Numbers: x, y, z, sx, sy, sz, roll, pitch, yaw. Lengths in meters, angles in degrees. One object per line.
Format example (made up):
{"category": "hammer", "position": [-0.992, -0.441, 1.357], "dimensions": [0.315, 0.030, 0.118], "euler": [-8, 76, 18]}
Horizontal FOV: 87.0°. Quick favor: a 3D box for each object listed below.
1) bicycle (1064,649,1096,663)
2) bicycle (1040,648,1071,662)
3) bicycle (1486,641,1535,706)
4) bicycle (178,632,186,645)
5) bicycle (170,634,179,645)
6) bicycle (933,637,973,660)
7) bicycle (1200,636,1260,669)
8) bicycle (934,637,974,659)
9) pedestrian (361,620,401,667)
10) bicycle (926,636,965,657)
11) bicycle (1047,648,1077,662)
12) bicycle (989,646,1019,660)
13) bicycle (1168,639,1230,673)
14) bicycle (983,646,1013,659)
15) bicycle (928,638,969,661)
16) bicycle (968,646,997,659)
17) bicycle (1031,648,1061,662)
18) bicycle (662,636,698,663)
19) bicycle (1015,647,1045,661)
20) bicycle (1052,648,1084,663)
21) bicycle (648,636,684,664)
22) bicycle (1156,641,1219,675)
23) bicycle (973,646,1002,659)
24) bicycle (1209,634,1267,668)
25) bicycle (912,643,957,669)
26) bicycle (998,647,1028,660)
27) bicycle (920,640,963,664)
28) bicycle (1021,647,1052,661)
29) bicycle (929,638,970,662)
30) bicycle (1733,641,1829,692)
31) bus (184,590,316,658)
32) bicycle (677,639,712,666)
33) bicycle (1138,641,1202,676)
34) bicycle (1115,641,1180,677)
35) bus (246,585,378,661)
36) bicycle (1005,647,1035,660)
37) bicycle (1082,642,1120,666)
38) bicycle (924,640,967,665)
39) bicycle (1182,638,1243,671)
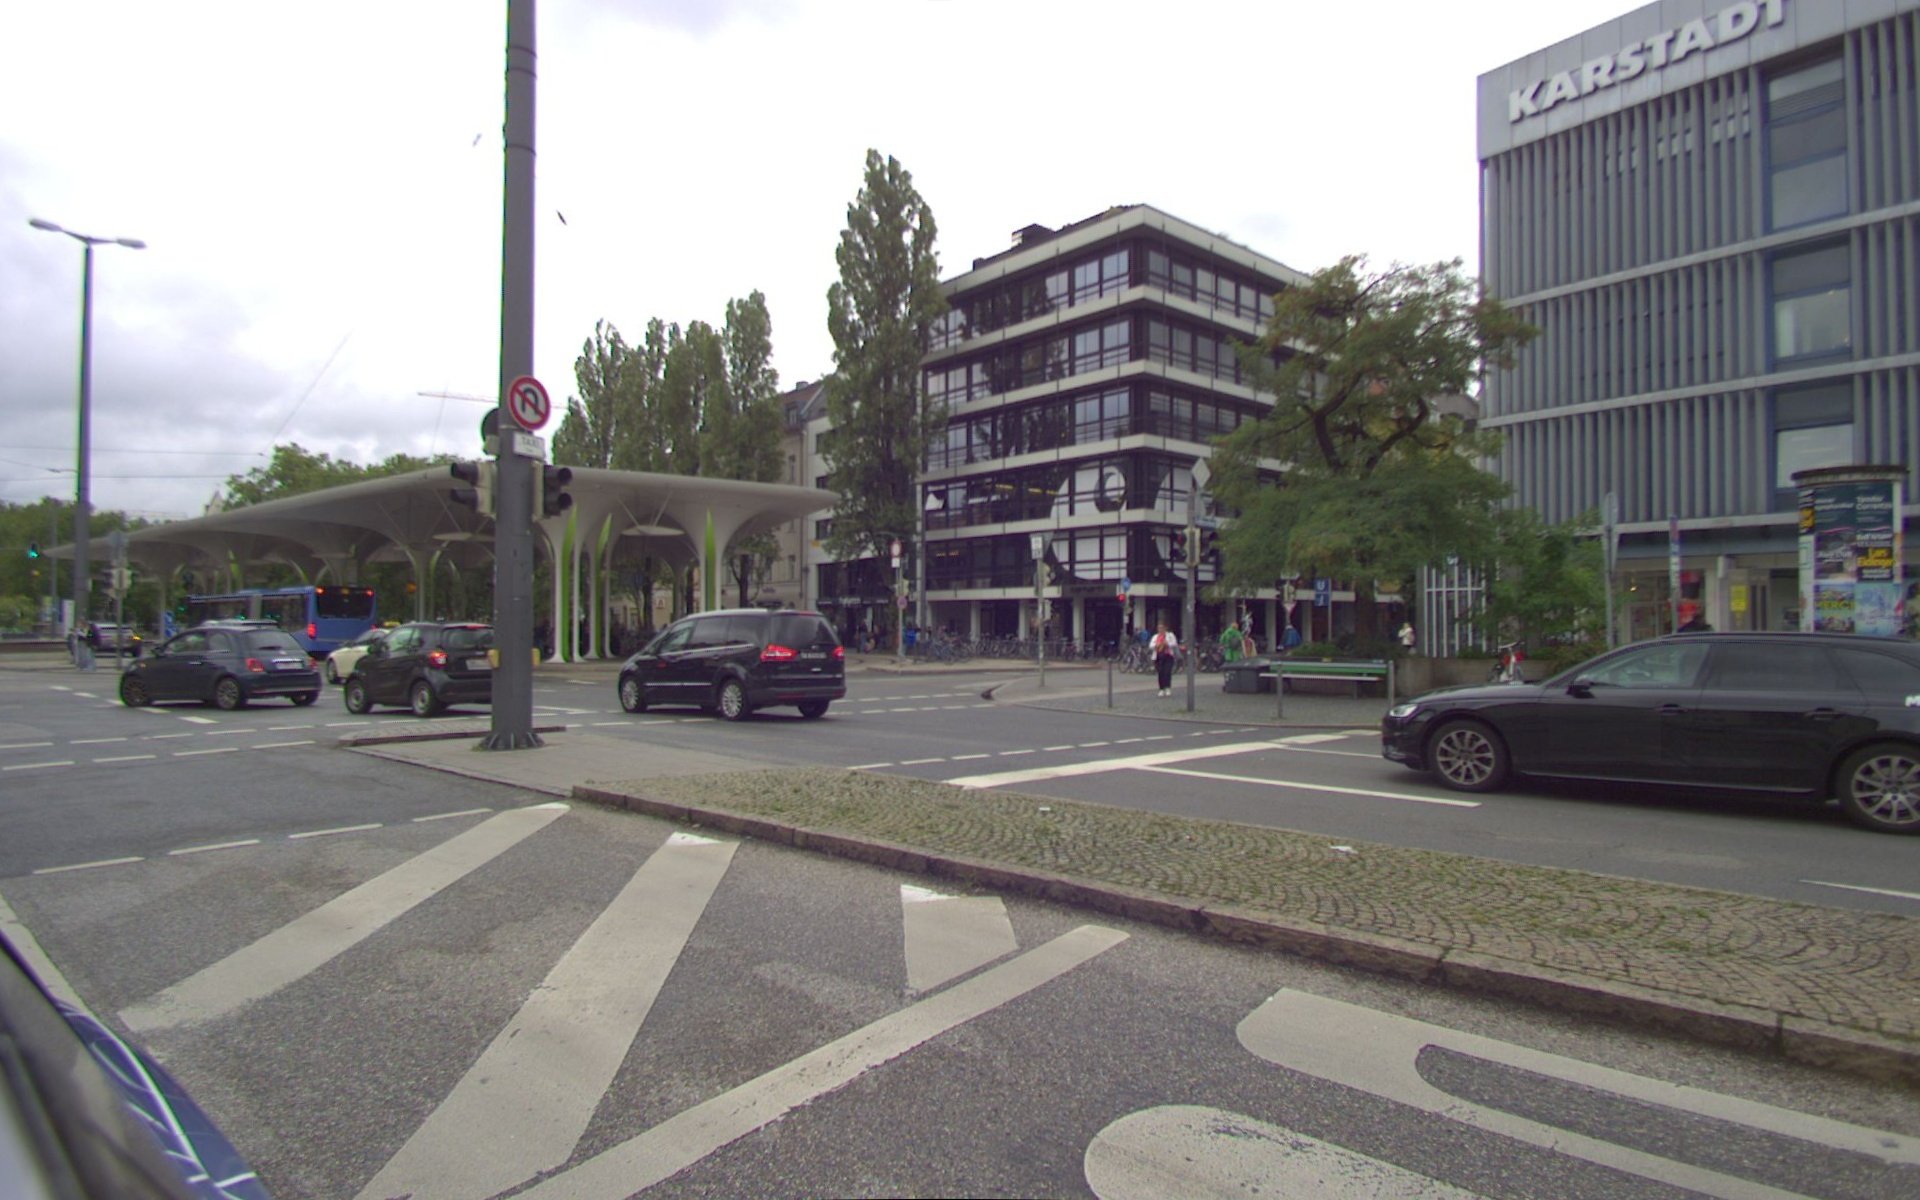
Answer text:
{"category": "bicycle", "position": [5.591, 2.597, 46.981], "dimensions": [1.607, 0.637, 0.430], "euler": [1, -2, -35]}
{"category": "bicycle", "position": [4.558, 2.621, 48.319], "dimensions": [1.607, 0.637, 0.430], "euler": [1, -2, -35]}
{"category": "bicycle", "position": [10.222, 1.339, 18.777], "dimensions": [0.373, 1.120, 1.556], "euler": [-2, -2, 44]}
{"category": "bicycle", "position": [-66.446, 3.294, 86.465], "dimensions": [0.472, 1.104, 1.853], "euler": [1, -2, -39]}
{"category": "bicycle", "position": [-66.872, 3.379, 86.120], "dimensions": [0.473, 0.901, 1.851], "euler": [1, -2, -42]}
{"category": "bicycle", "position": [-0.317, 2.117, 44.263], "dimensions": [1.704, 0.946, 0.456], "euler": [1, -1, -8]}
{"category": "bicycle", "position": [9.308, 1.798, 34.956], "dimensions": [1.985, 1.005, 0.521], "euler": [1, 0, 41]}
{"category": "bicycle", "position": [-0.262, 2.113, 44.806], "dimensions": [1.704, 0.946, 0.456], "euler": [1, -1, -8]}
{"category": "pedestrian", "position": [-21.431, 1.601, 37.493], "dimensions": [0.835, 1.694, 0.967], "euler": [-1, -2, 19]}
{"category": "bicycle", "position": [-0.675, 2.119, 45.982], "dimensions": [1.704, 0.946, 0.455], "euler": [1, -1, -6]}
{"category": "bicycle", "position": [4.839, 2.614, 47.932], "dimensions": [1.607, 0.637, 0.364], "euler": [1, -2, -35]}
{"category": "bicycle", "position": [2.237, 2.675, 51.067], "dimensions": [1.607, 0.637, 0.364], "euler": [1, -2, -35]}
{"category": "bicycle", "position": [7.892, 1.846, 33.437], "dimensions": [1.985, 1.005, 0.521], "euler": [1, 0, 41]}
{"category": "bicycle", "position": [1.946, 2.682, 51.461], "dimensions": [1.607, 0.637, 0.364], "euler": [1, -2, -35]}
{"category": "bicycle", "position": [-0.491, 2.124, 43.664], "dimensions": [1.704, 0.946, 0.456], "euler": [1, -1, -8]}
{"category": "bicycle", "position": [1.155, 2.701, 52.411], "dimensions": [1.607, 0.637, 0.364], "euler": [1, -2, -35]}
{"category": "bicycle", "position": [4.153, 2.631, 48.784], "dimensions": [1.607, 0.637, 0.364], "euler": [1, -2, -35]}
{"category": "bicycle", "position": [-12.220, 2.130, 44.095], "dimensions": [0.633, 1.133, 2.169], "euler": [1, -2, -40]}
{"category": "bicycle", "position": [3.423, 2.648, 49.674], "dimensions": [1.607, 0.637, 0.364], "euler": [1, -2, -35]}
{"category": "bicycle", "position": [5.090, 2.609, 47.571], "dimensions": [1.607, 0.637, 0.430], "euler": [1, -2, -35]}
{"category": "bicycle", "position": [-12.702, 2.145, 43.668], "dimensions": [0.633, 1.133, 2.169], "euler": [1, -2, -40]}
{"category": "bicycle", "position": [7.373, 1.864, 32.861], "dimensions": [1.985, 1.005, 0.521], "euler": [1, 0, 41]}
{"category": "bicycle", "position": [1.428, 2.694, 52.081], "dimensions": [1.607, 0.637, 0.364], "euler": [1, -2, -35]}
{"category": "bicycle", "position": [9.721, 1.765, 35.427], "dimensions": [1.893, 1.119, 0.578], "euler": [1, -1, 41]}
{"category": "bicycle", "position": [-0.992, 2.159, 39.277], "dimensions": [1.718, 0.946, 0.452], "euler": [0, -1, 20]}
{"category": "bicycle", "position": [2.641, 2.666, 50.596], "dimensions": [1.607, 0.637, 0.364], "euler": [1, -2, -35]}
{"category": "bicycle", "position": [-0.761, 2.140, 41.886], "dimensions": [1.717, 0.946, 0.452], "euler": [0, -1, 19]}
{"category": "bicycle", "position": [3.735, 2.640, 49.361], "dimensions": [1.607, 0.637, 0.364], "euler": [1, -2, -35]}
{"category": "bicycle", "position": [-0.437, 2.126, 43.010], "dimensions": [1.707, 0.946, 0.455], "euler": [1, -1, 0]}
{"category": "bicycle", "position": [19.329, 1.525, 23.793], "dimensions": [3.383, 1.108, 0.789], "euler": [1, -2, -34]}
{"category": "bus", "position": [-35.011, 1.236, 49.685], "dimensions": [10.507, 3.031, 2.633], "euler": [-1, -4, 40]}
{"category": "bicycle", "position": [-11.706, 2.293, 44.634], "dimensions": [0.645, 1.127, 2.186], "euler": [1, -2, -40]}
{"category": "bicycle", "position": [6.651, 1.833, 32.139], "dimensions": [1.985, 1.005, 0.521], "euler": [1, 0, 41]}
{"category": "bicycle", "position": [5.807, 1.817, 31.349], "dimensions": [1.985, 1.005, 0.521], "euler": [1, 0, 41]}
{"category": "bus", "position": [-28.156, 1.061, 43.836], "dimensions": [7.507, 3.031, 2.633], "euler": [-1, -4, 40]}
{"category": "bicycle", "position": [2.959, 2.659, 50.149], "dimensions": [1.607, 0.637, 0.364], "euler": [1, -2, -35]}
{"category": "bicycle", "position": [6.302, 2.422, 45.363], "dimensions": [1.611, 1.082, 0.429], "euler": [0, -2, -1]}
{"category": "bicycle", "position": [-0.600, 2.138, 41.342], "dimensions": [1.719, 0.946, 0.452], "euler": [0, -1, 21]}
{"category": "bicycle", "position": [8.485, 1.826, 34.062], "dimensions": [1.985, 1.005, 0.521], "euler": [1, 0, 41]}
